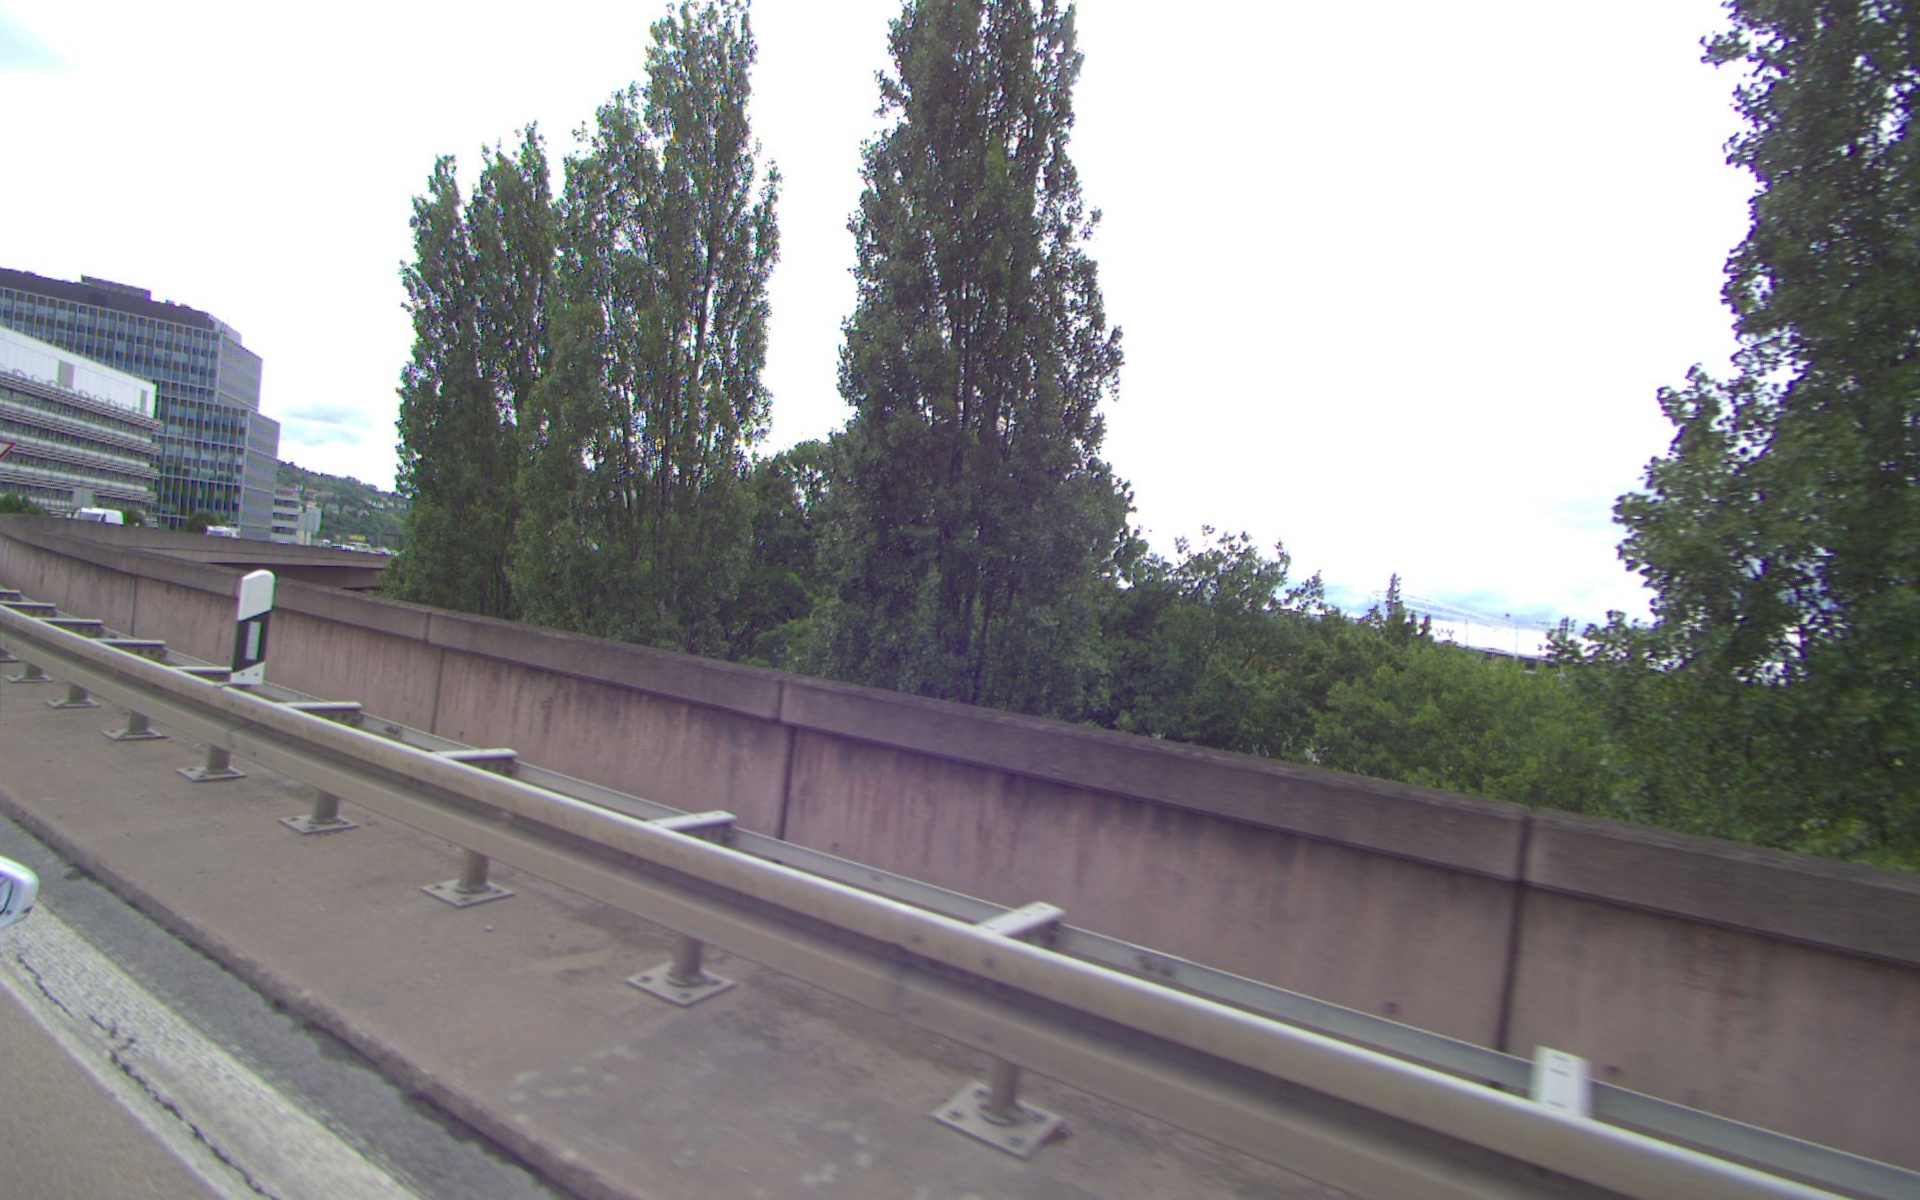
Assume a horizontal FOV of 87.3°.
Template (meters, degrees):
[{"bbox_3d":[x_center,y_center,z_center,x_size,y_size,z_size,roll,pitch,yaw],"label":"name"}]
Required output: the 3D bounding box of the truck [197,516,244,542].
[{"bbox_3d":[-92.861,-8.869,126.502,2.462,2.659,7.319,6,-1,-19],"label":"truck"}]

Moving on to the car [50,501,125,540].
[{"bbox_3d":[-73.989,-6.703,85.443,2.551,2.675,6.163,7,-1,-20],"label":"car"}]
